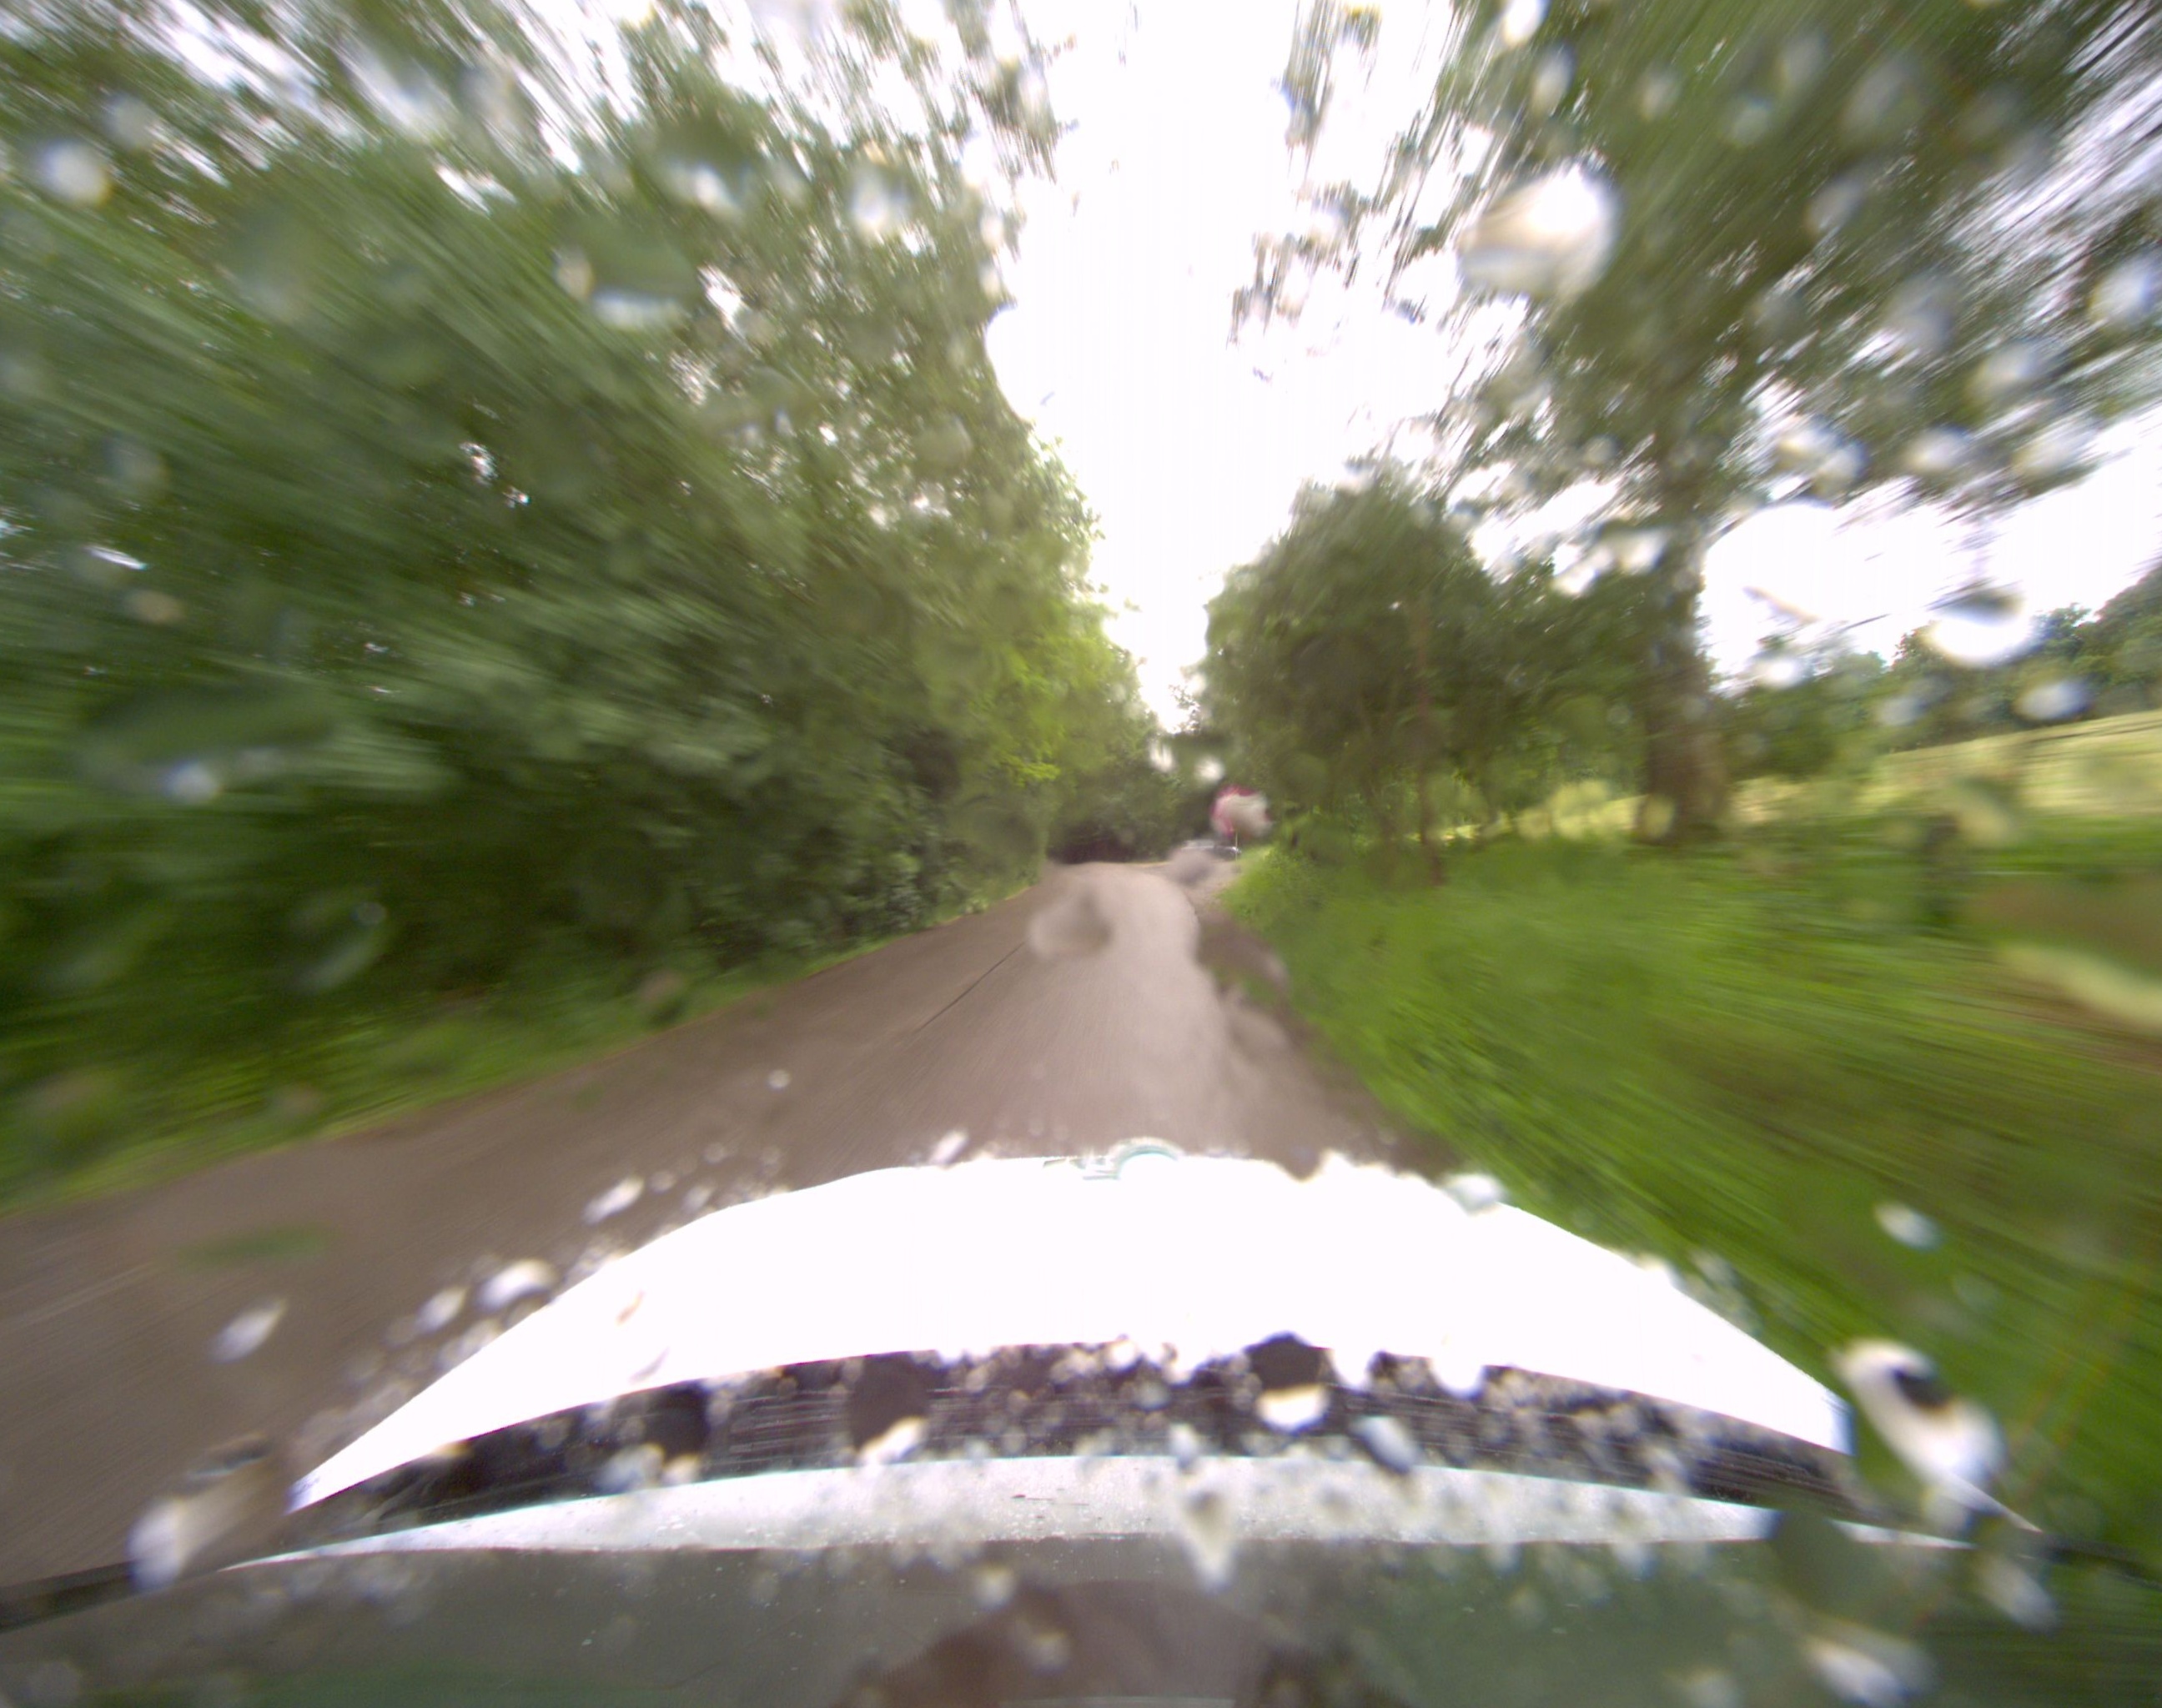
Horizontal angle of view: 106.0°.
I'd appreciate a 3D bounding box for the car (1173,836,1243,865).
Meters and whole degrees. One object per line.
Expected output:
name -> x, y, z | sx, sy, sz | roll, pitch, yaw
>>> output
car -> 7.752, -0.232, 49.901 | 3.971, 1.390, 2.001 | -5, 1, 2
